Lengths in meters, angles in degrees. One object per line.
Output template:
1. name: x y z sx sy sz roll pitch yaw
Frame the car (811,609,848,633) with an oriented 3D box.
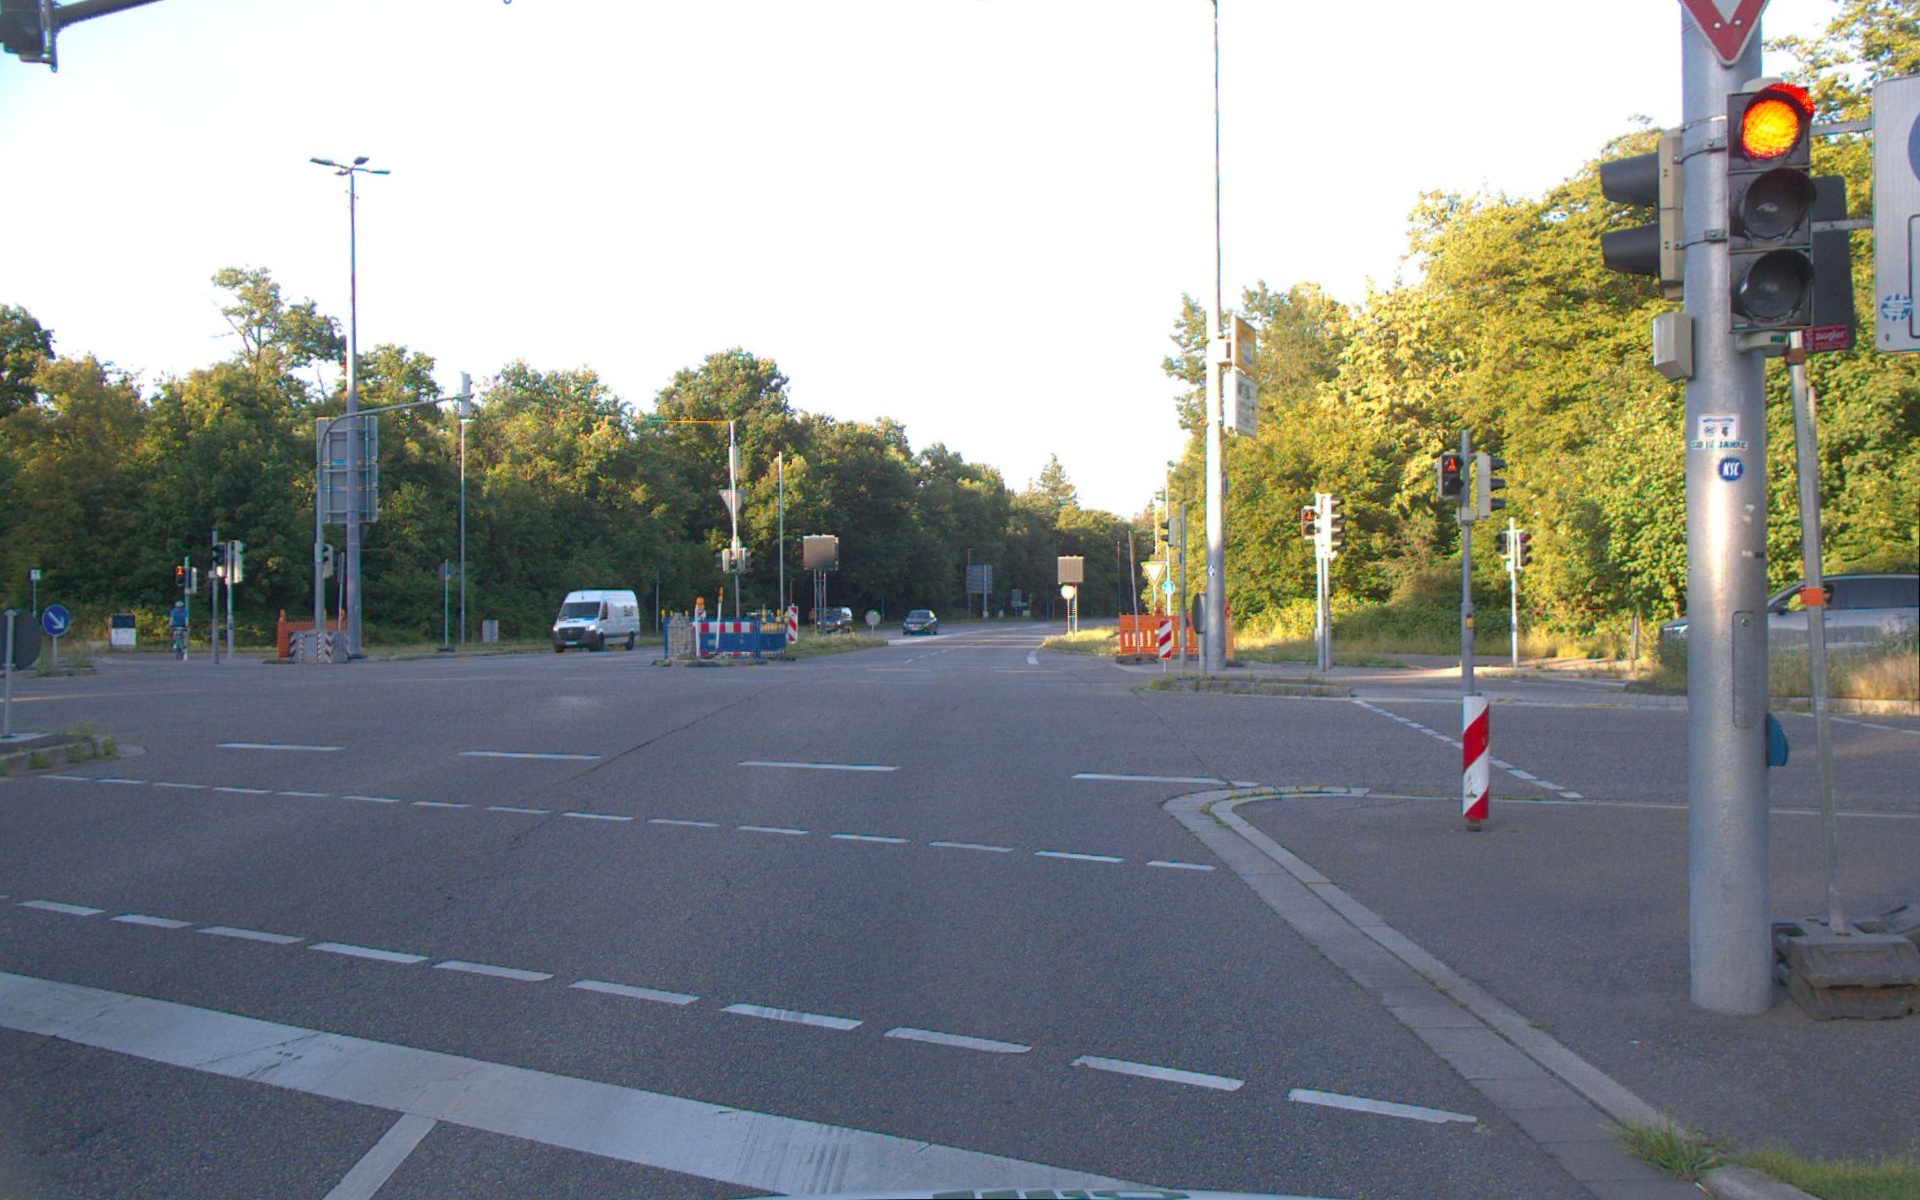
1. car: -9.639 1.546 122.488 1.951 1.668 4.003 0 0 7

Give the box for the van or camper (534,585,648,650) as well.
1. van or camper: -15.989 0.727 72.196 2.824 2.699 7.126 0 0 5

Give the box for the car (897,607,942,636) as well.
1. car: -2.546 1.381 105.298 1.951 1.668 4.004 -2 1 11

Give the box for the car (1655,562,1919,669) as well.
1. car: 13.742 0.244 26.488 4.716 1.626 2.000 -1 0 21

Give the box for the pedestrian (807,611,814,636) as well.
1. pedestrian: -12.384 1.981 136.851 0.511 2.049 0.600 1 -1 -1
